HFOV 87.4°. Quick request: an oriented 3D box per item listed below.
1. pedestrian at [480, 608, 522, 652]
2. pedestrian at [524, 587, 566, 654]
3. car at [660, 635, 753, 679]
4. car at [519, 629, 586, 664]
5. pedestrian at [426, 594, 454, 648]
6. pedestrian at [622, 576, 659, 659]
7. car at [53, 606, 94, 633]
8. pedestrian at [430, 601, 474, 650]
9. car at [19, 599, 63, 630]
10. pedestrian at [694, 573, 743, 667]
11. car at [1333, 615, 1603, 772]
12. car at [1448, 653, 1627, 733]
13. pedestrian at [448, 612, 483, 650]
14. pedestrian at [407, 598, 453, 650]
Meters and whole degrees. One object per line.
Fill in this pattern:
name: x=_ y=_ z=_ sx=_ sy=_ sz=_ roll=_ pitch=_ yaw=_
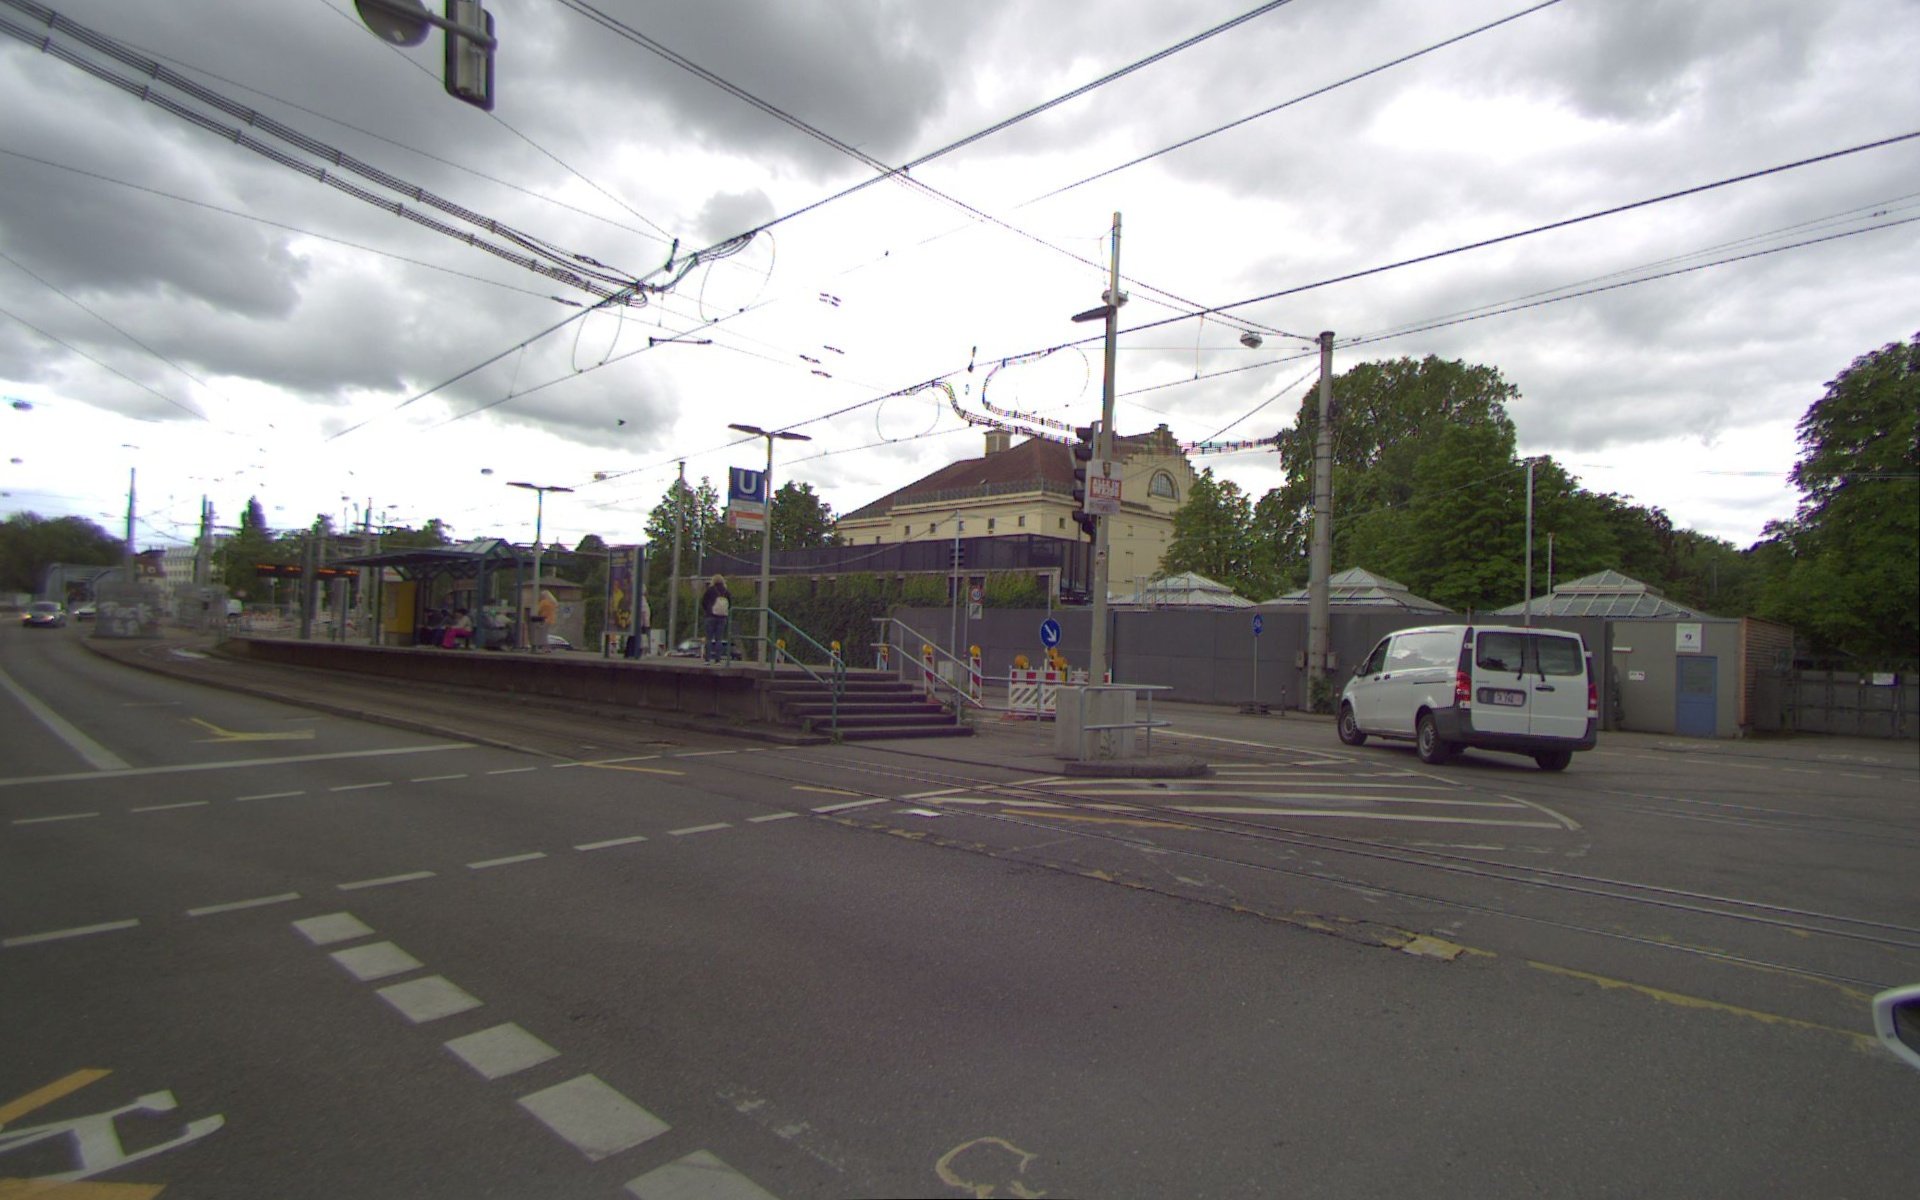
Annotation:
pedestrian: x=-12.668 y=0.831 z=27.709 sx=0.642 sy=1.137 sz=0.817 roll=1 pitch=-3 yaw=45
pedestrian: x=-10.743 y=0.541 z=25.994 sx=0.534 sy=1.698 sz=0.774 roll=-1 pitch=-4 yaw=43
car: x=-10.191 y=2.260 z=40.185 sx=3.946 sy=1.572 sz=1.747 roll=0 pitch=-4 yaw=44
car: x=-20.771 y=2.348 z=51.158 sx=1.747 sy=1.572 sz=3.947 roll=6 pitch=-4 yaw=-44
pedestrian: x=-16.244 y=0.660 z=31.381 sx=0.472 sy=1.662 sz=0.597 roll=3 pitch=-2 yaw=0
pedestrian: x=-6.781 y=0.386 z=21.340 sx=0.590 sy=1.721 sz=0.456 roll=-1 pitch=-4 yaw=44
car: x=-66.456 y=1.450 z=75.298 sx=1.988 sy=1.683 sz=3.946 roll=5 pitch=-1 yaw=-45
pedestrian: x=-13.903 y=0.701 z=27.473 sx=0.763 sy=1.285 sz=0.805 roll=1 pitch=-3 yaw=45
car: x=-60.974 y=0.957 z=66.679 sx=1.986 sy=1.683 sz=3.950 roll=5 pitch=-1 yaw=-42
pedestrian: x=-4.304 y=0.362 z=17.916 sx=0.518 sy=1.630 sz=0.595 roll=-1 pitch=-4 yaw=43
car: x=7.337 y=1.362 z=15.126 sx=1.885 sy=1.926 sz=4.705 roll=2 pitch=-4 yaw=3
car: x=17.798 y=2.822 z=31.092 sx=4.398 sy=2.111 sz=2.092 roll=1 pitch=-4 yaw=45
pedestrian: x=-13.286 y=0.843 z=26.986 sx=0.506 sy=0.991 sz=0.659 roll=-1 pitch=-4 yaw=43
pedestrian: x=-14.783 y=0.664 z=28.016 sx=0.923 sy=1.390 sz=0.817 roll=1 pitch=-3 yaw=45
